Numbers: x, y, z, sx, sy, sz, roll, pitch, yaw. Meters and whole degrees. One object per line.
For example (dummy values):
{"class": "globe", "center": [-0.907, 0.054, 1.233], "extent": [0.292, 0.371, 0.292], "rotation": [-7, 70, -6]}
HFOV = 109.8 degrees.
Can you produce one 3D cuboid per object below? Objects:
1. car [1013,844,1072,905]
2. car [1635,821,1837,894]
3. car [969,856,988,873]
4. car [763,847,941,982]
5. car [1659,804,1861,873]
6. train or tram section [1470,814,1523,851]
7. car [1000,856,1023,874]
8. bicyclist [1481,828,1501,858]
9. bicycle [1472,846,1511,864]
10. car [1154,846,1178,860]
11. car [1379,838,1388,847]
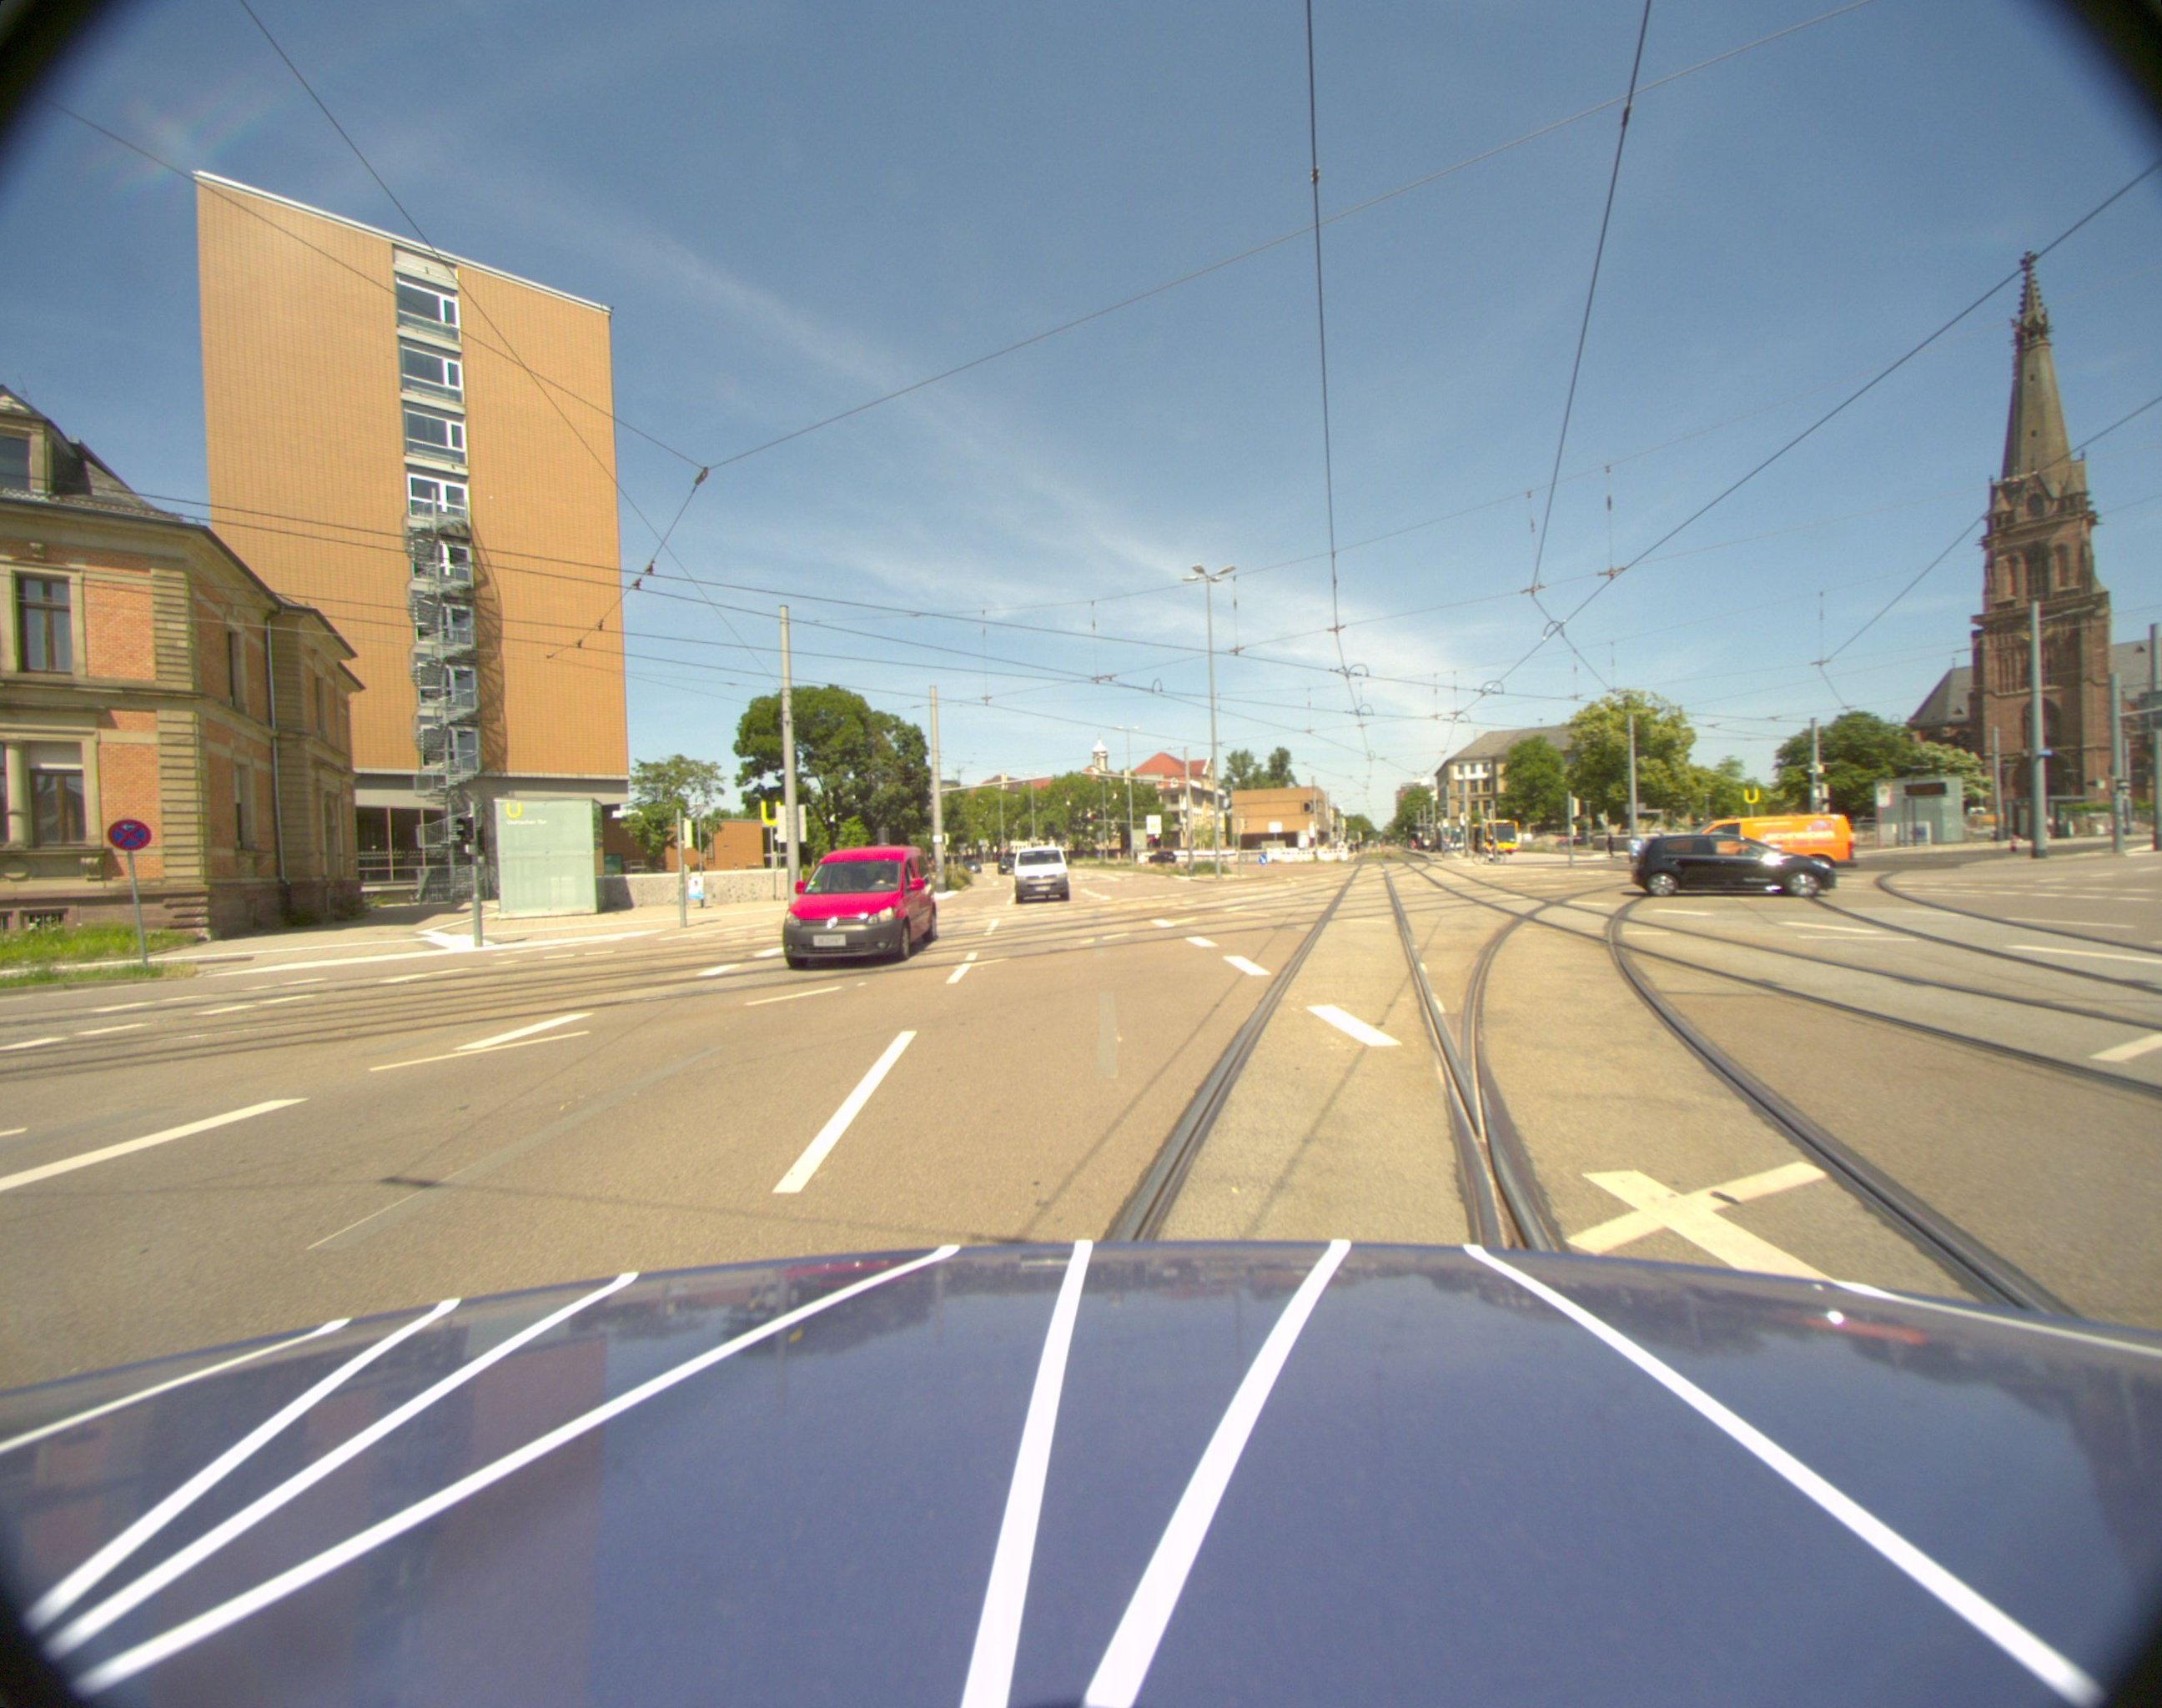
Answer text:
{"class": "car", "center": [-1.396, 0.712, 27.467], "extent": [1.874, 1.954, 3.823], "rotation": [-2, -1, -3]}
{"class": "car", "center": [15.005, 0.105, 17.627], "extent": [3.377, 1.565, 1.337], "rotation": [-2, 1, 34]}
{"class": "car", "center": [-11.821, 1.137, 87.128], "extent": [2.000, 1.830, 3.997], "rotation": [-2, 0, -9]}
{"class": "car", "center": [-3.558, 0.825, 12.600], "extent": [1.756, 1.802, 4.096], "rotation": [-2, 0, -2]}
{"class": "car", "center": [22.040, -0.459, 24.953], "extent": [4.584, 2.002, 2.003], "rotation": [-2, 1, 30]}
{"class": "train or tram section", "center": [38.623, -1.957, 70.897], "extent": [2.838, 3.195, 9.121], "rotation": [-2, 0, 19]}
{"class": "car", "center": [-6.934, 1.051, 75.435], "extent": [2.000, 1.714, 3.997], "rotation": [-2, 0, -9]}
{"class": "bicyclist", "center": [23.466, -0.627, 43.506], "extent": [0.812, 1.678, 0.529], "rotation": [-2, 1, 5]}
{"class": "bicycle", "center": [23.484, 0.053, 43.498], "extent": [1.904, 0.973, 0.529], "rotation": [-2, 1, 5]}
{"class": "car", "center": [9.703, -0.112, 86.971], "extent": [1.539, 1.450, 2.982], "rotation": [-3, 1, -19]}
{"class": "car", "center": [56.554, -2.089, 142.129], "extent": [1.438, 1.587, 4.005], "rotation": [-2, 0, 19]}
